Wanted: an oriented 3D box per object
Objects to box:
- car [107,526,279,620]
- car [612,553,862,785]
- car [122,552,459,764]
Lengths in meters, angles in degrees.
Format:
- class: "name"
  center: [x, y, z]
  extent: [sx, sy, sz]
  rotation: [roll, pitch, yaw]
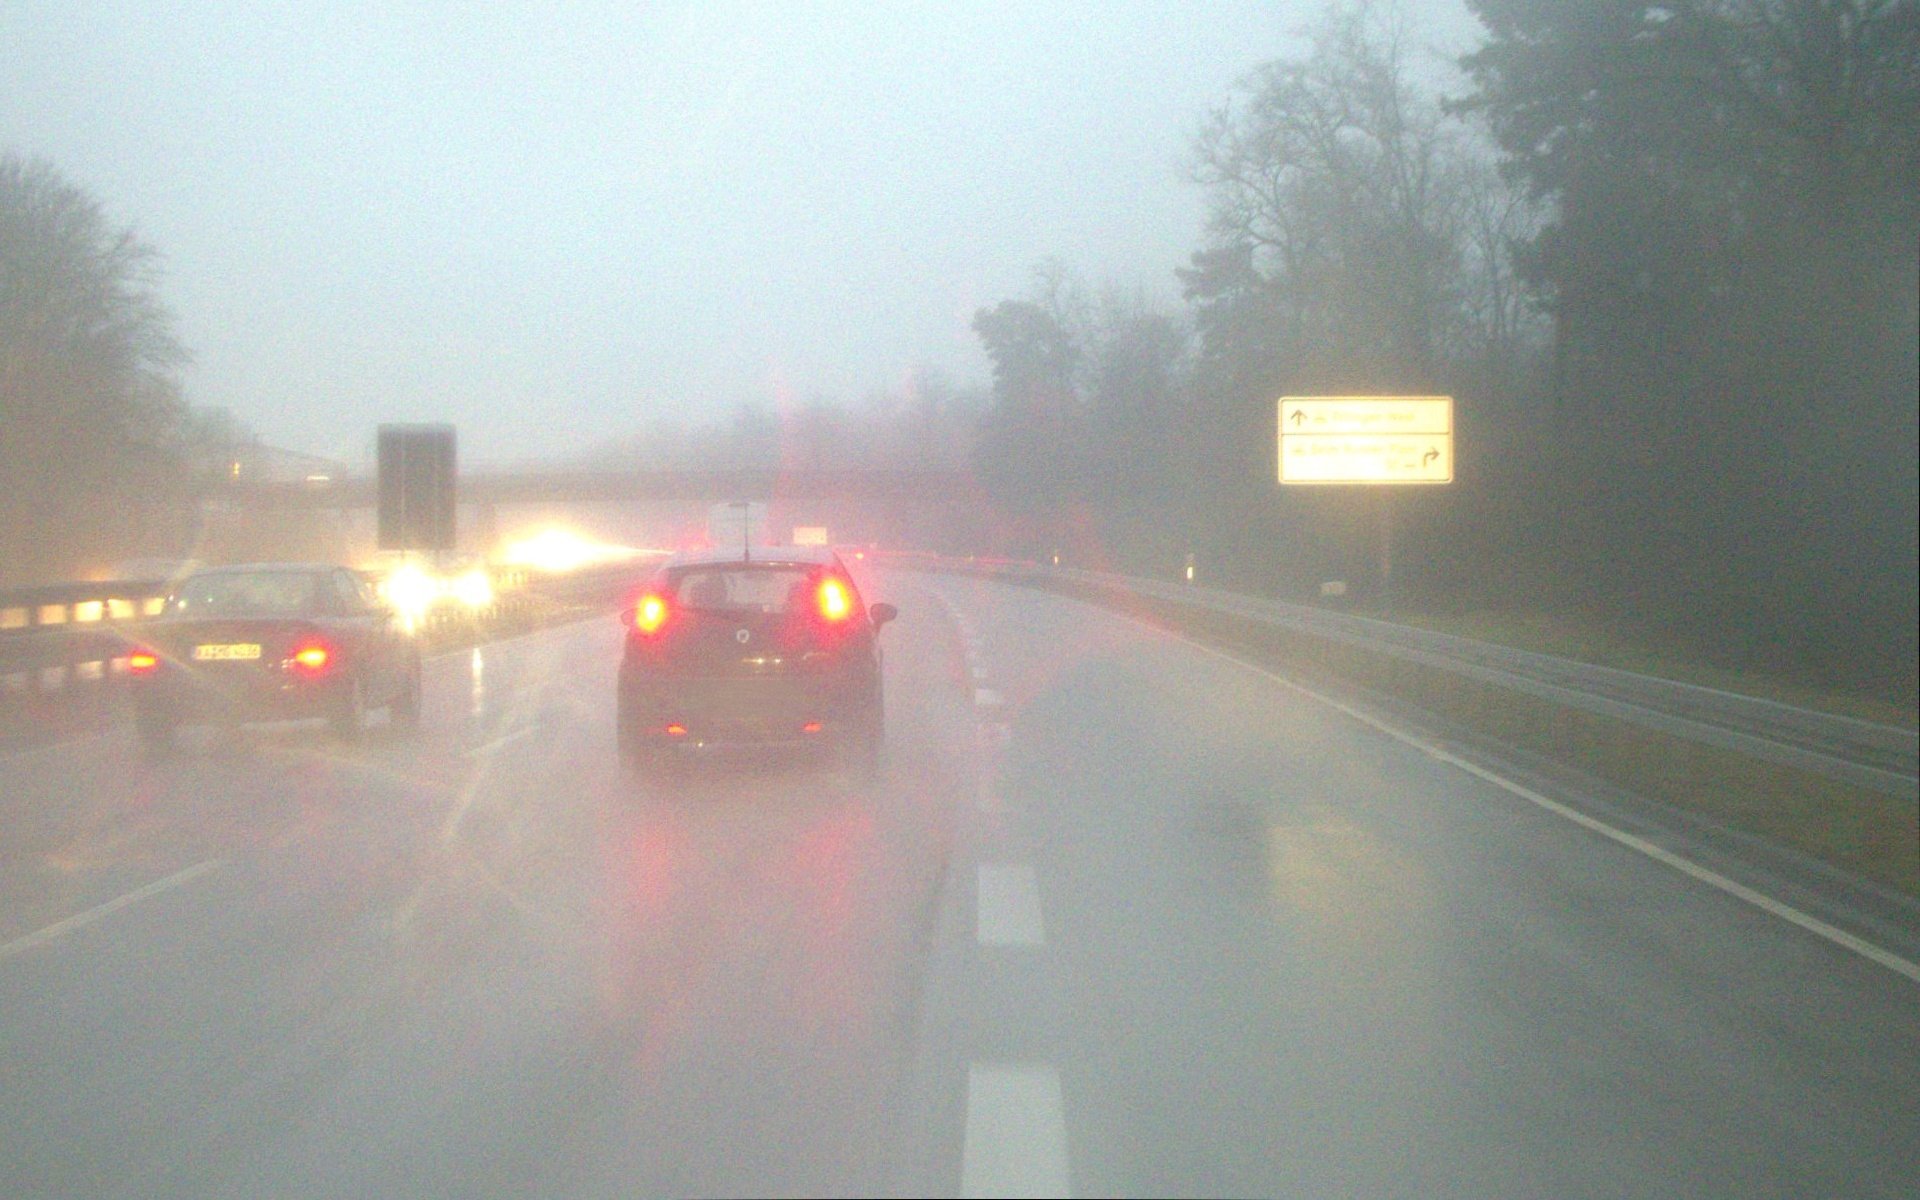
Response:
- class: "car"
  center: [-15.356, -0.565, 69.095]
  extent: [1.994, 1.747, 4.899]
  rotation: [2, 1, 4]
- class: "car"
  center: [-1.481, 0.423, 23.805]
  extent: [1.527, 1.411, 3.479]
  rotation: [2, 1, -1]
- class: "car"
  center: [-5.373, 0.404, 28.175]
  extent: [1.776, 1.529, 4.703]
  rotation: [-2, 1, 0]
